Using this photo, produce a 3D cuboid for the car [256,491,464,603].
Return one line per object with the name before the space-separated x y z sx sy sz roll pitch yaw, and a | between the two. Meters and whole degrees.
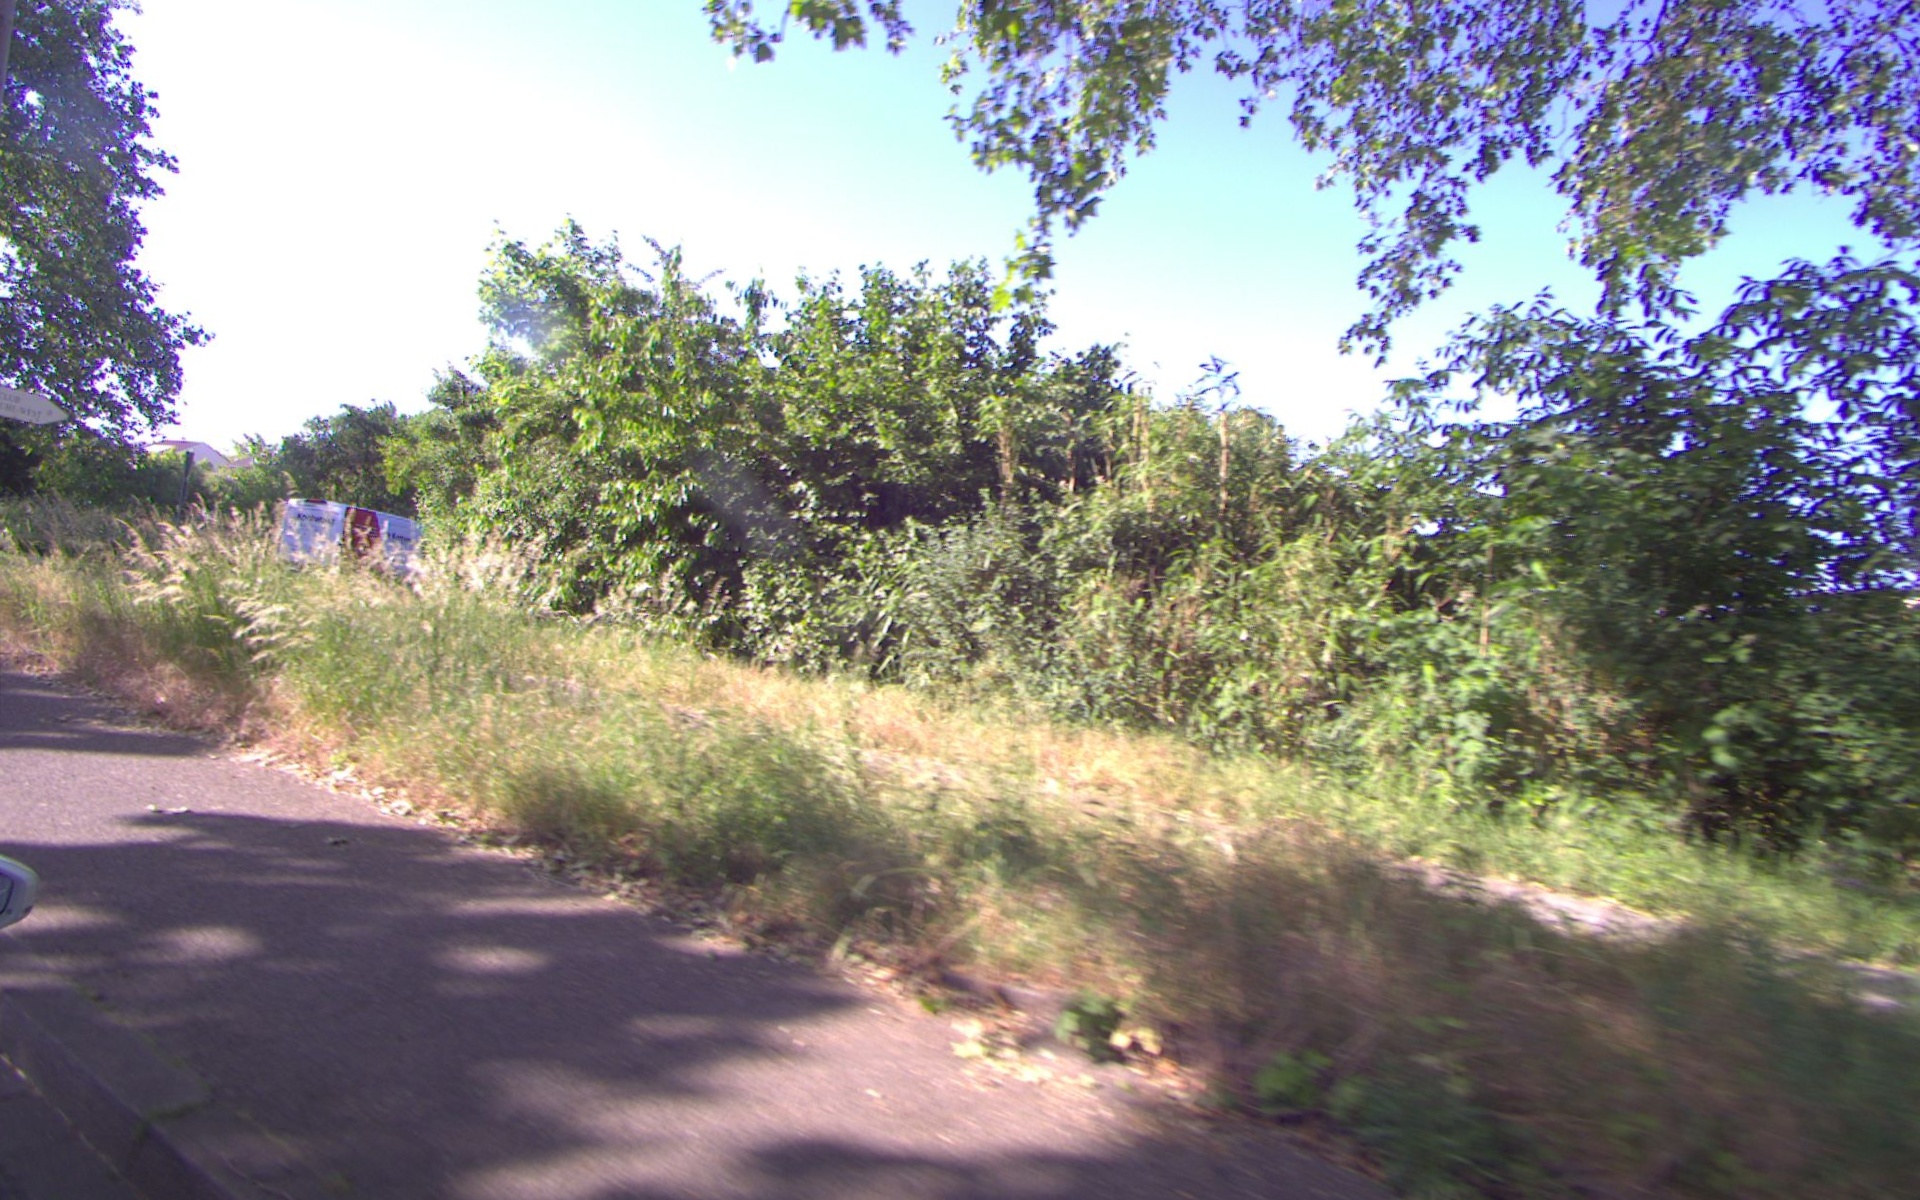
car | -17.105 -1.396 29.071 2.285 2.467 5.006 8 -2 8
